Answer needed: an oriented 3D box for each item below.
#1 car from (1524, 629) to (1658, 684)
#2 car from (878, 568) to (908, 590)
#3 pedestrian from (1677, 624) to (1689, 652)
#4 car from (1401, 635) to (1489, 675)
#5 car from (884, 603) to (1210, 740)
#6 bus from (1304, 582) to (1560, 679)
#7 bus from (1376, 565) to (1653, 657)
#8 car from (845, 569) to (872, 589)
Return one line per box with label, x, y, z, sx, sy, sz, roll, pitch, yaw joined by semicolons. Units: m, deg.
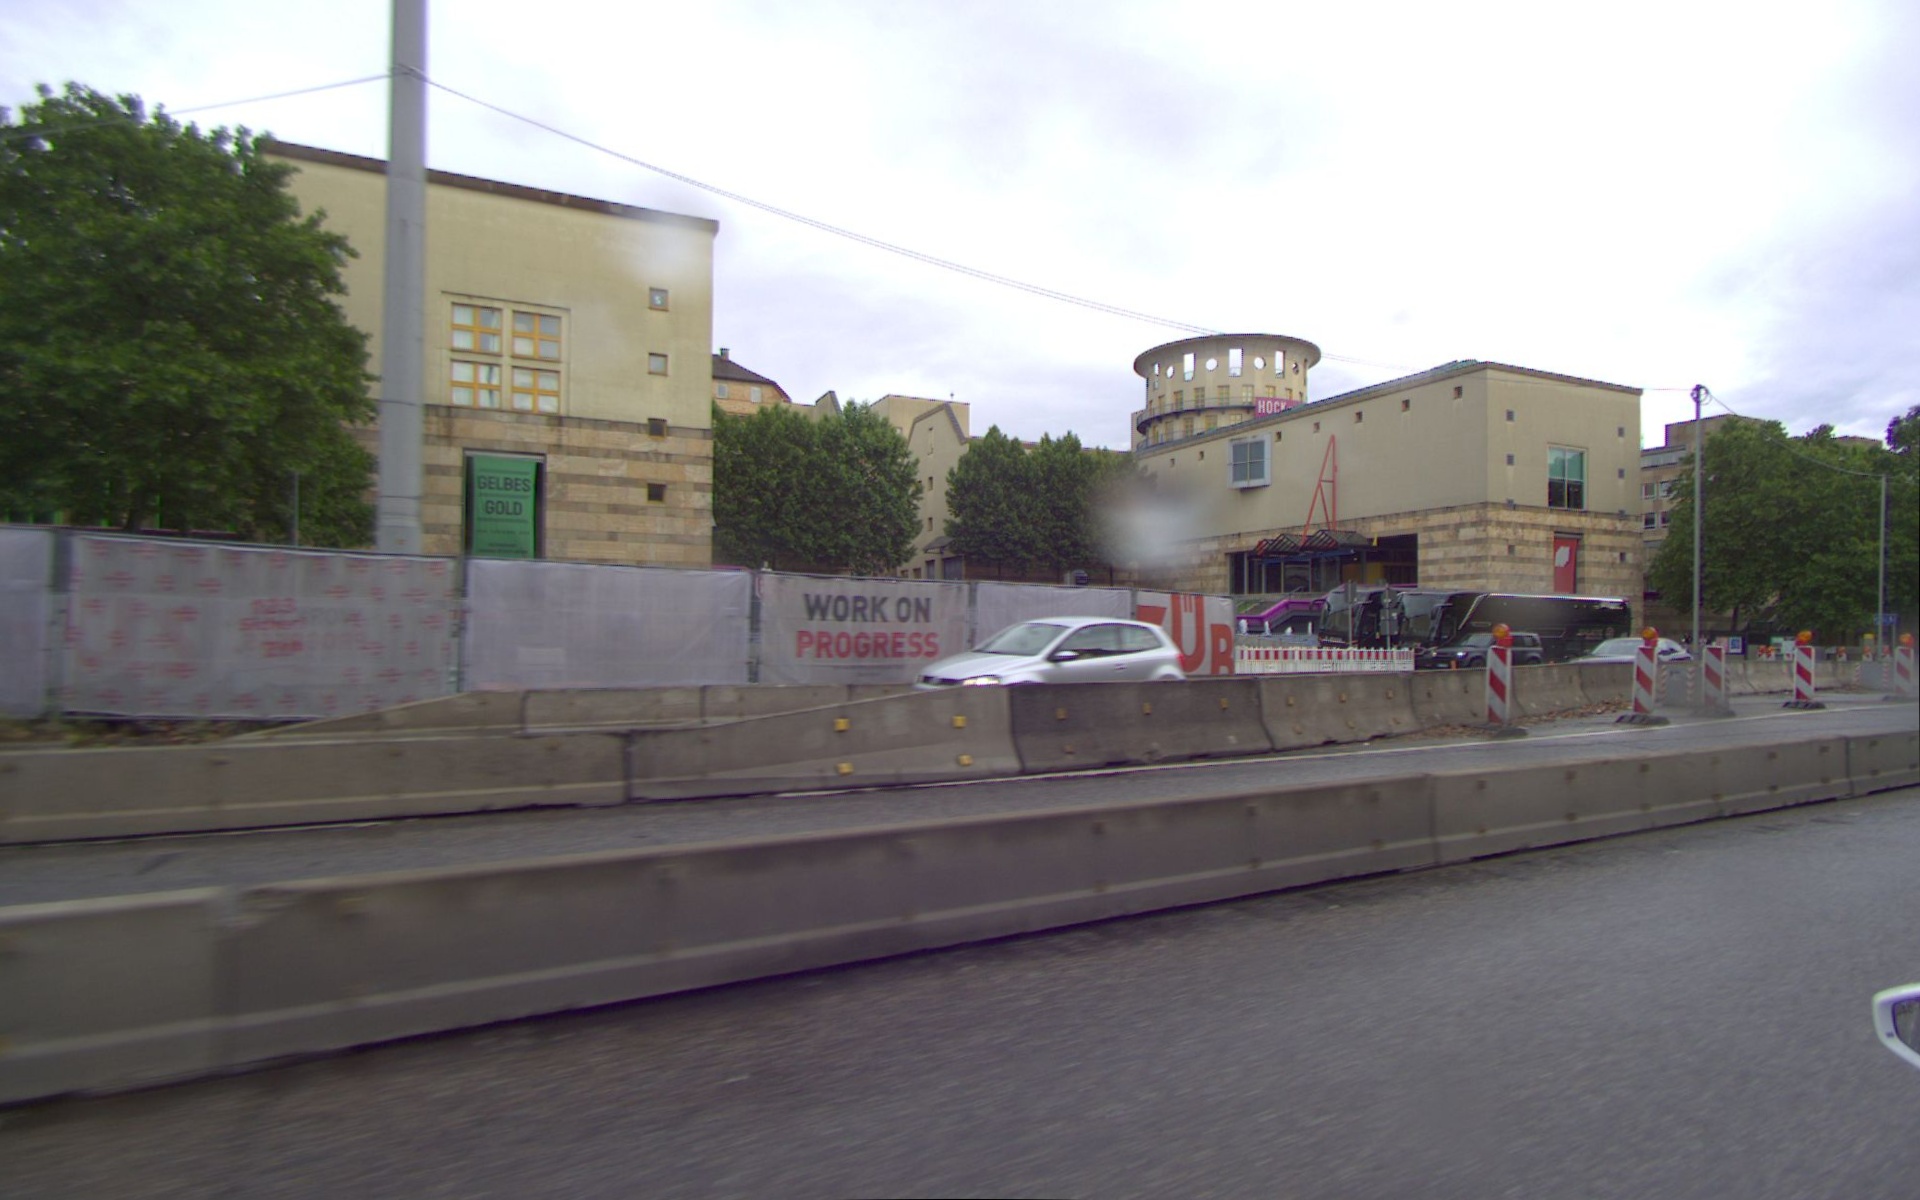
car;17.104;1.459;27.133;4.730;1.279;1.758;1;0;-41
car;-7.033;-2.181;105.727;1.972;2.040;3.979;2;-3;-23
pedestrian;51.719;2.714;71.855;0.505;2.040;0.476;2;-3;-26
car;19.131;2.182;39.645;3.175;1.520;1.585;2;-3;-29
car;1.201;0.856;13.282;3.959;1.550;1.981;1;-1;-34
bus;23.021;1.482;48.691;13.302;4.309;3.111;1;0;-23
bus;25.738;0.586;46.258;14.387;3.862;2.798;1;0;-23
car;-11.963;-2.446;118.154;1.972;2.040;3.978;2;-3;-23
